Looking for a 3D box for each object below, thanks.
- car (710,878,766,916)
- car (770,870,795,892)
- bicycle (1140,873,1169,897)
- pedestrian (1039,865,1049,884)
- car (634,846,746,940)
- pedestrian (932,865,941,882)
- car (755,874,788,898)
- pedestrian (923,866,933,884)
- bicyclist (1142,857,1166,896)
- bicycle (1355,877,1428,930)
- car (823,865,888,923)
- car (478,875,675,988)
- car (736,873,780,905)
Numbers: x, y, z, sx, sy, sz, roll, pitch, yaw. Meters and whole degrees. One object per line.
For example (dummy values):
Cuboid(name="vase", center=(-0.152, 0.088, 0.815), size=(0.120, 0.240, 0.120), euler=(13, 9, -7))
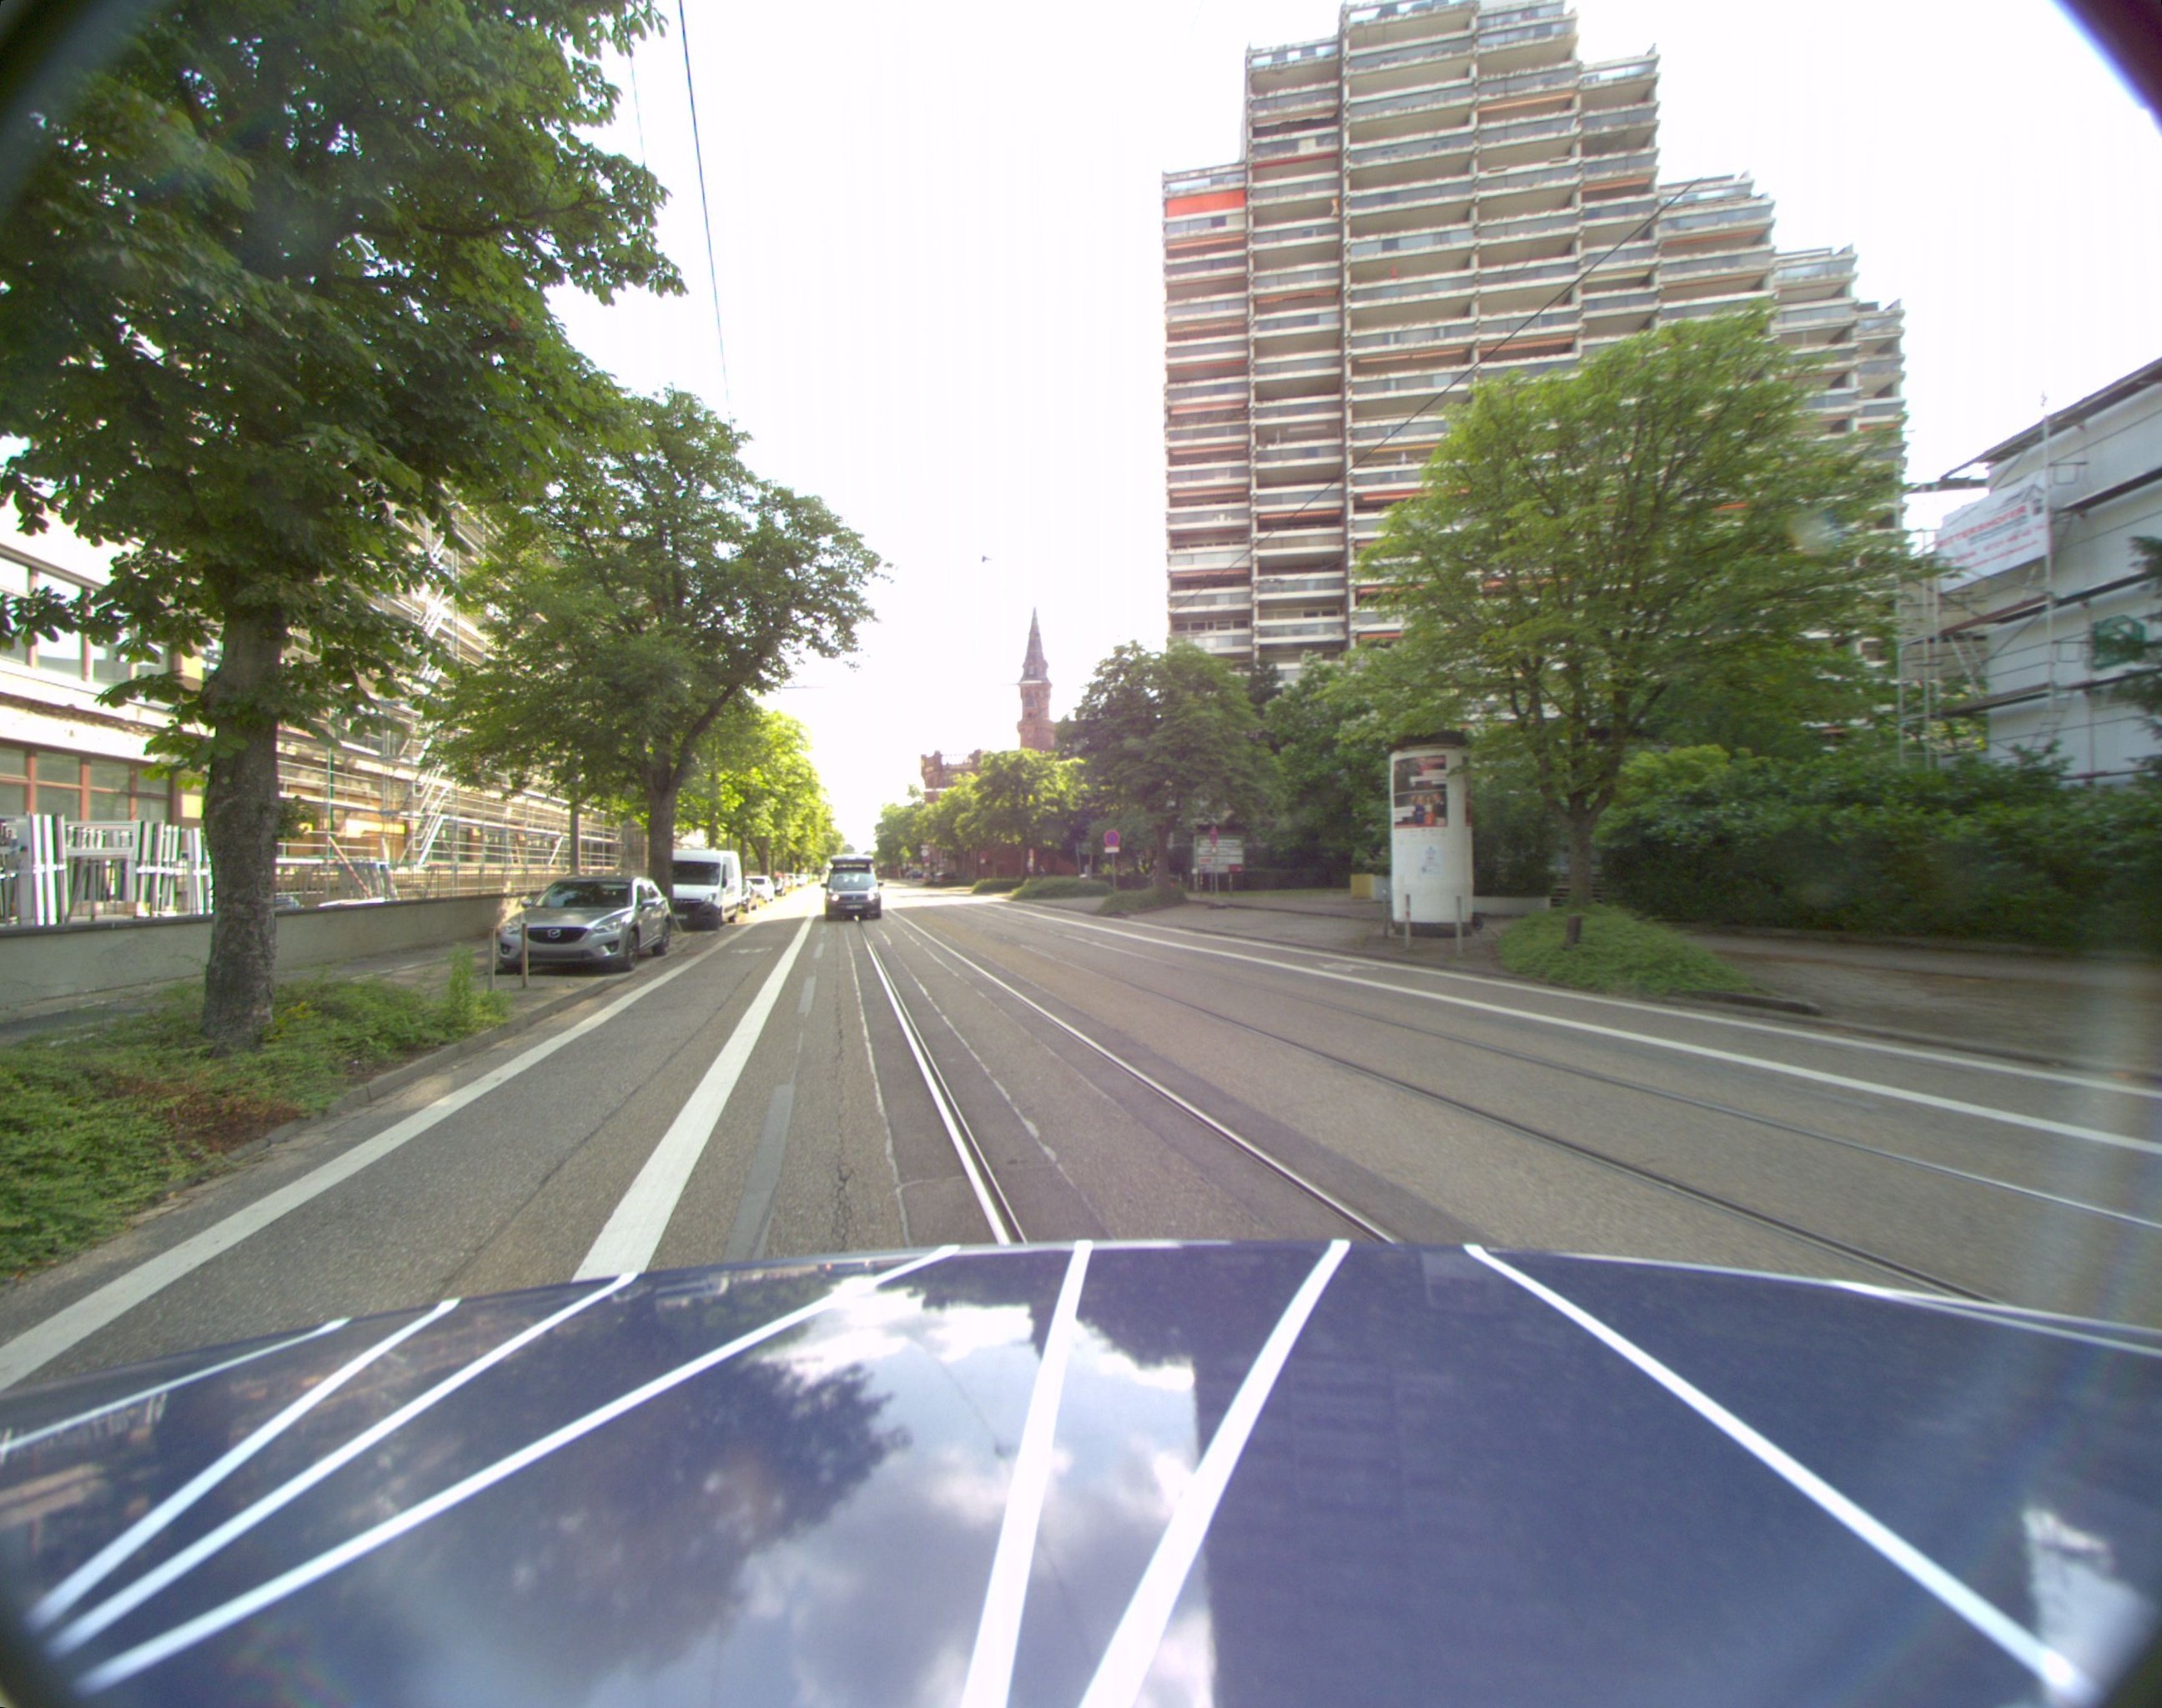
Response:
Cuboid(name="car", center=(-15.038, 1.835, 33.527), size=(1.741, 1.364, 4.500), euler=(0, 0, -18))
Cuboid(name="car", center=(-24.420, 2.188, 62.278), size=(1.534, 1.565, 3.641), euler=(-4, 1, -18))
Cuboid(name="bicycle", center=(3.351, 1.392, 34.863), size=(0.569, 0.975, 1.980), euler=(-4, 1, -18))
Cuboid(name="pedestrian", center=(-3.258, 1.819, 67.037), size=(0.766, 1.620, 0.737), euler=(-4, 2, -9))
Cuboid(name="car", center=(-12.171, 1.057, 24.084), size=(2.131, 2.552, 5.910), euler=(-2, 1, -18))
Cuboid(name="pedestrian", center=(-17.521, 2.400, 92.093), size=(0.906, 2.002, 1.055), euler=(-4, 2, -13))
Cuboid(name="car", center=(-21.247, 2.182, 52.271), size=(1.739, 1.390, 3.624), euler=(-4, 1, -18))
Cuboid(name="pedestrian", center=(-18.457, 2.525, 91.723), size=(0.906, 2.002, 1.055), euler=(-4, 2, -15))
Cuboid(name="bicyclist", center=(3.328, 1.013, 34.719), size=(0.726, 1.730, 0.780), euler=(-4, 2, -18))
Cuboid(name="bicycle", center=(7.284, 1.163, 17.846), size=(1.505, 1.148, 0.634), euler=(-3, 2, 25))
Cuboid(name="car", center=(-7.884, 1.299, 26.399), size=(1.948, 1.763, 4.830), euler=(-1, -1, -18))
Cuboid(name="car", center=(-8.910, 1.243, 13.889), size=(1.772, 1.597, 4.452), euler=(-2, 0, -18))
Cuboid(name="car", center=(-17.968, 1.906, 42.410), size=(1.570, 1.449, 3.890), euler=(-4, 1, -14))
